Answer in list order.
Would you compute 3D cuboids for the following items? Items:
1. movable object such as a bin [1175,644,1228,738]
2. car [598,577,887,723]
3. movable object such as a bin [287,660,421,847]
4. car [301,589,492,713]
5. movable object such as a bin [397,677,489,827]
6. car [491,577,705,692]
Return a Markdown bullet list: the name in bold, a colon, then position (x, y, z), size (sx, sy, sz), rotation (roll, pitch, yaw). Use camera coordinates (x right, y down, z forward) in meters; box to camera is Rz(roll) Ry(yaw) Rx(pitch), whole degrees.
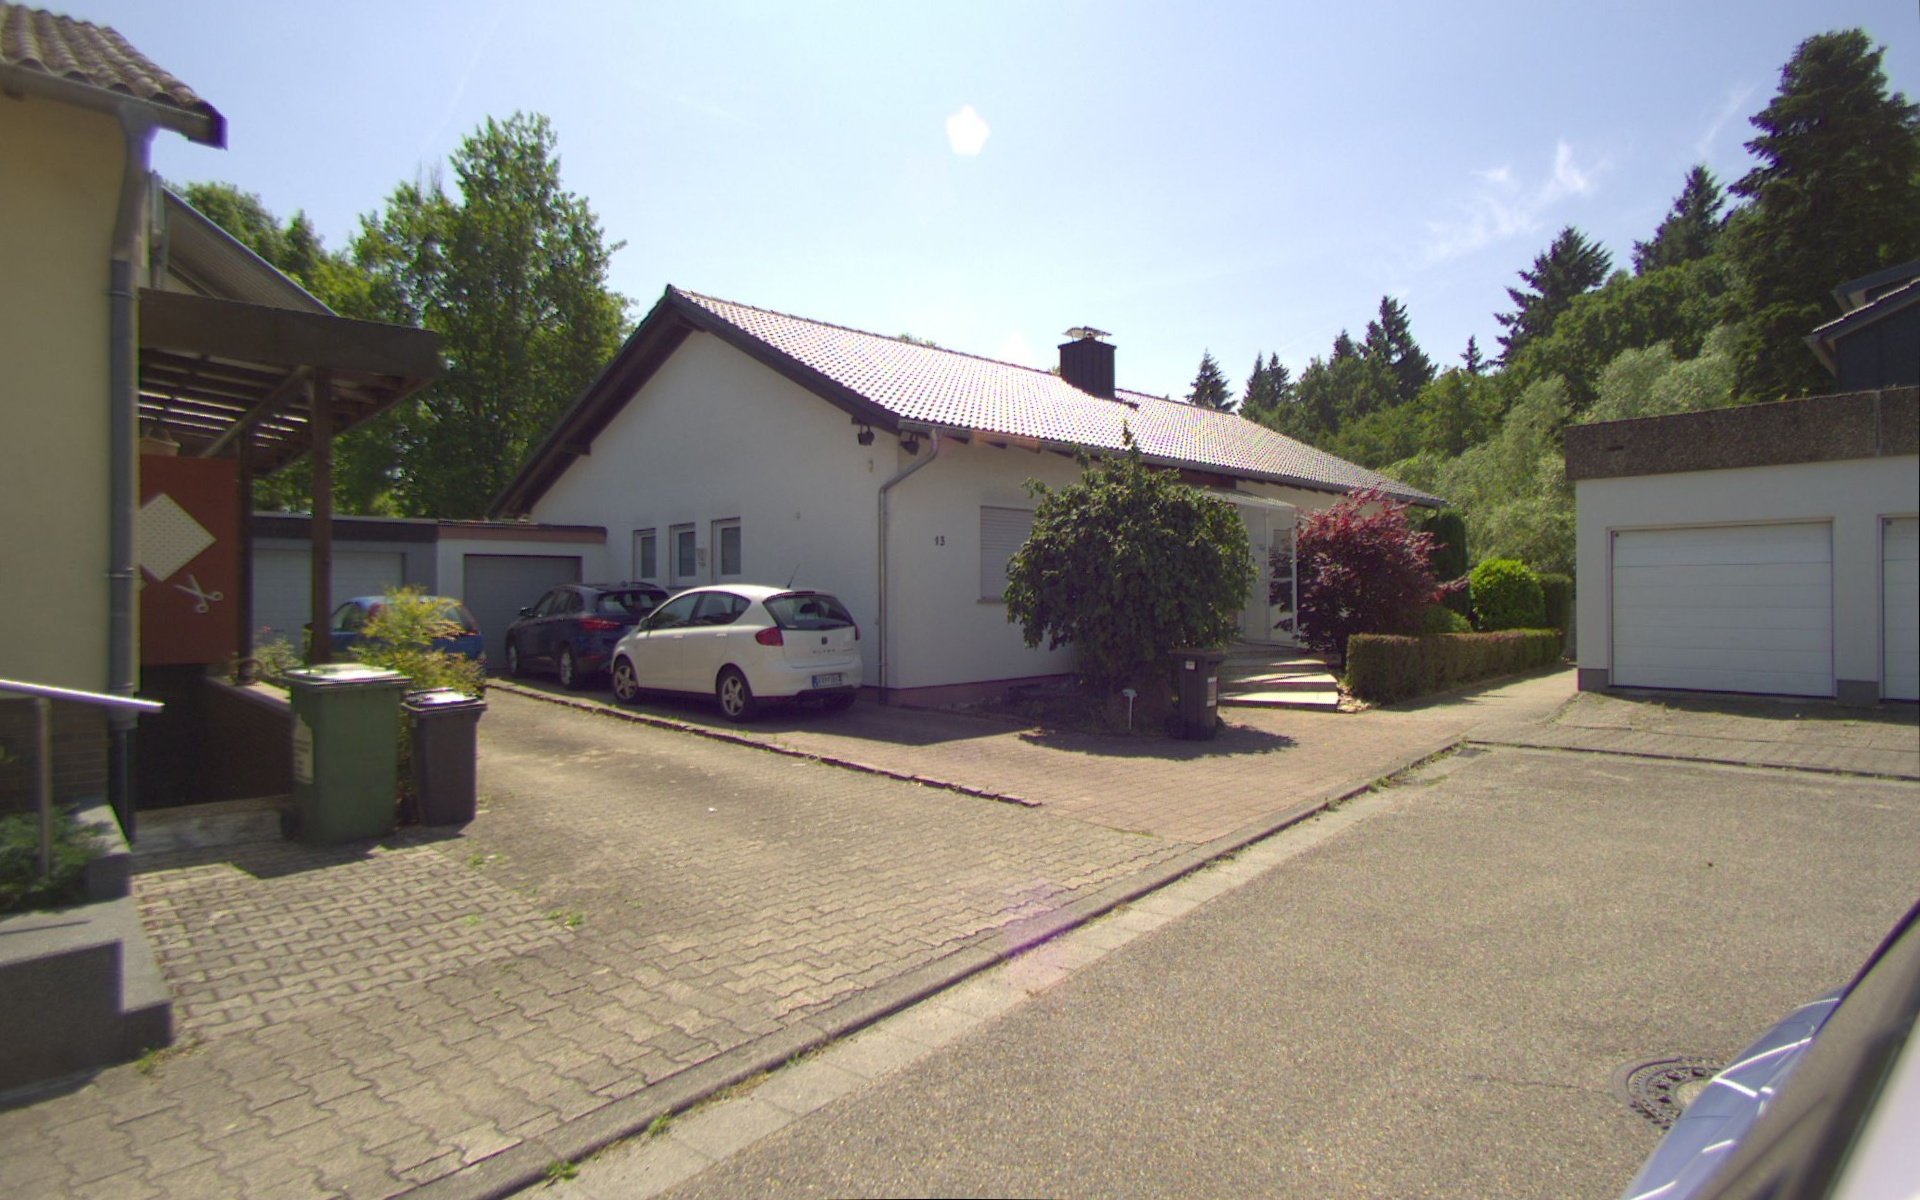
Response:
- **movable object such as a bin**: position (2.475, 0.920, 10.379), size (0.369, 0.902, 0.389), rotation (-1, 0, -44)
- **car**: position (-2.909, 0.530, 13.037), size (3.987, 1.588, 1.725), rotation (0, 1, 44)
- **movable object such as a bin**: position (-3.823, 0.935, 6.387), size (0.489, 1.054, 0.584), rotation (-1, 0, 39)
- **car**: position (-7.926, 0.611, 14.133), size (1.593, 1.473, 3.247), rotation (0, 1, -43)
- **movable object such as a bin**: position (-3.444, 0.992, 6.741), size (0.424, 0.902, 0.402), rotation (-1, 0, 40)
- **car**: position (-6.009, 0.462, 16.555), size (1.897, 1.628, 3.991), rotation (-1, 2, -43)
